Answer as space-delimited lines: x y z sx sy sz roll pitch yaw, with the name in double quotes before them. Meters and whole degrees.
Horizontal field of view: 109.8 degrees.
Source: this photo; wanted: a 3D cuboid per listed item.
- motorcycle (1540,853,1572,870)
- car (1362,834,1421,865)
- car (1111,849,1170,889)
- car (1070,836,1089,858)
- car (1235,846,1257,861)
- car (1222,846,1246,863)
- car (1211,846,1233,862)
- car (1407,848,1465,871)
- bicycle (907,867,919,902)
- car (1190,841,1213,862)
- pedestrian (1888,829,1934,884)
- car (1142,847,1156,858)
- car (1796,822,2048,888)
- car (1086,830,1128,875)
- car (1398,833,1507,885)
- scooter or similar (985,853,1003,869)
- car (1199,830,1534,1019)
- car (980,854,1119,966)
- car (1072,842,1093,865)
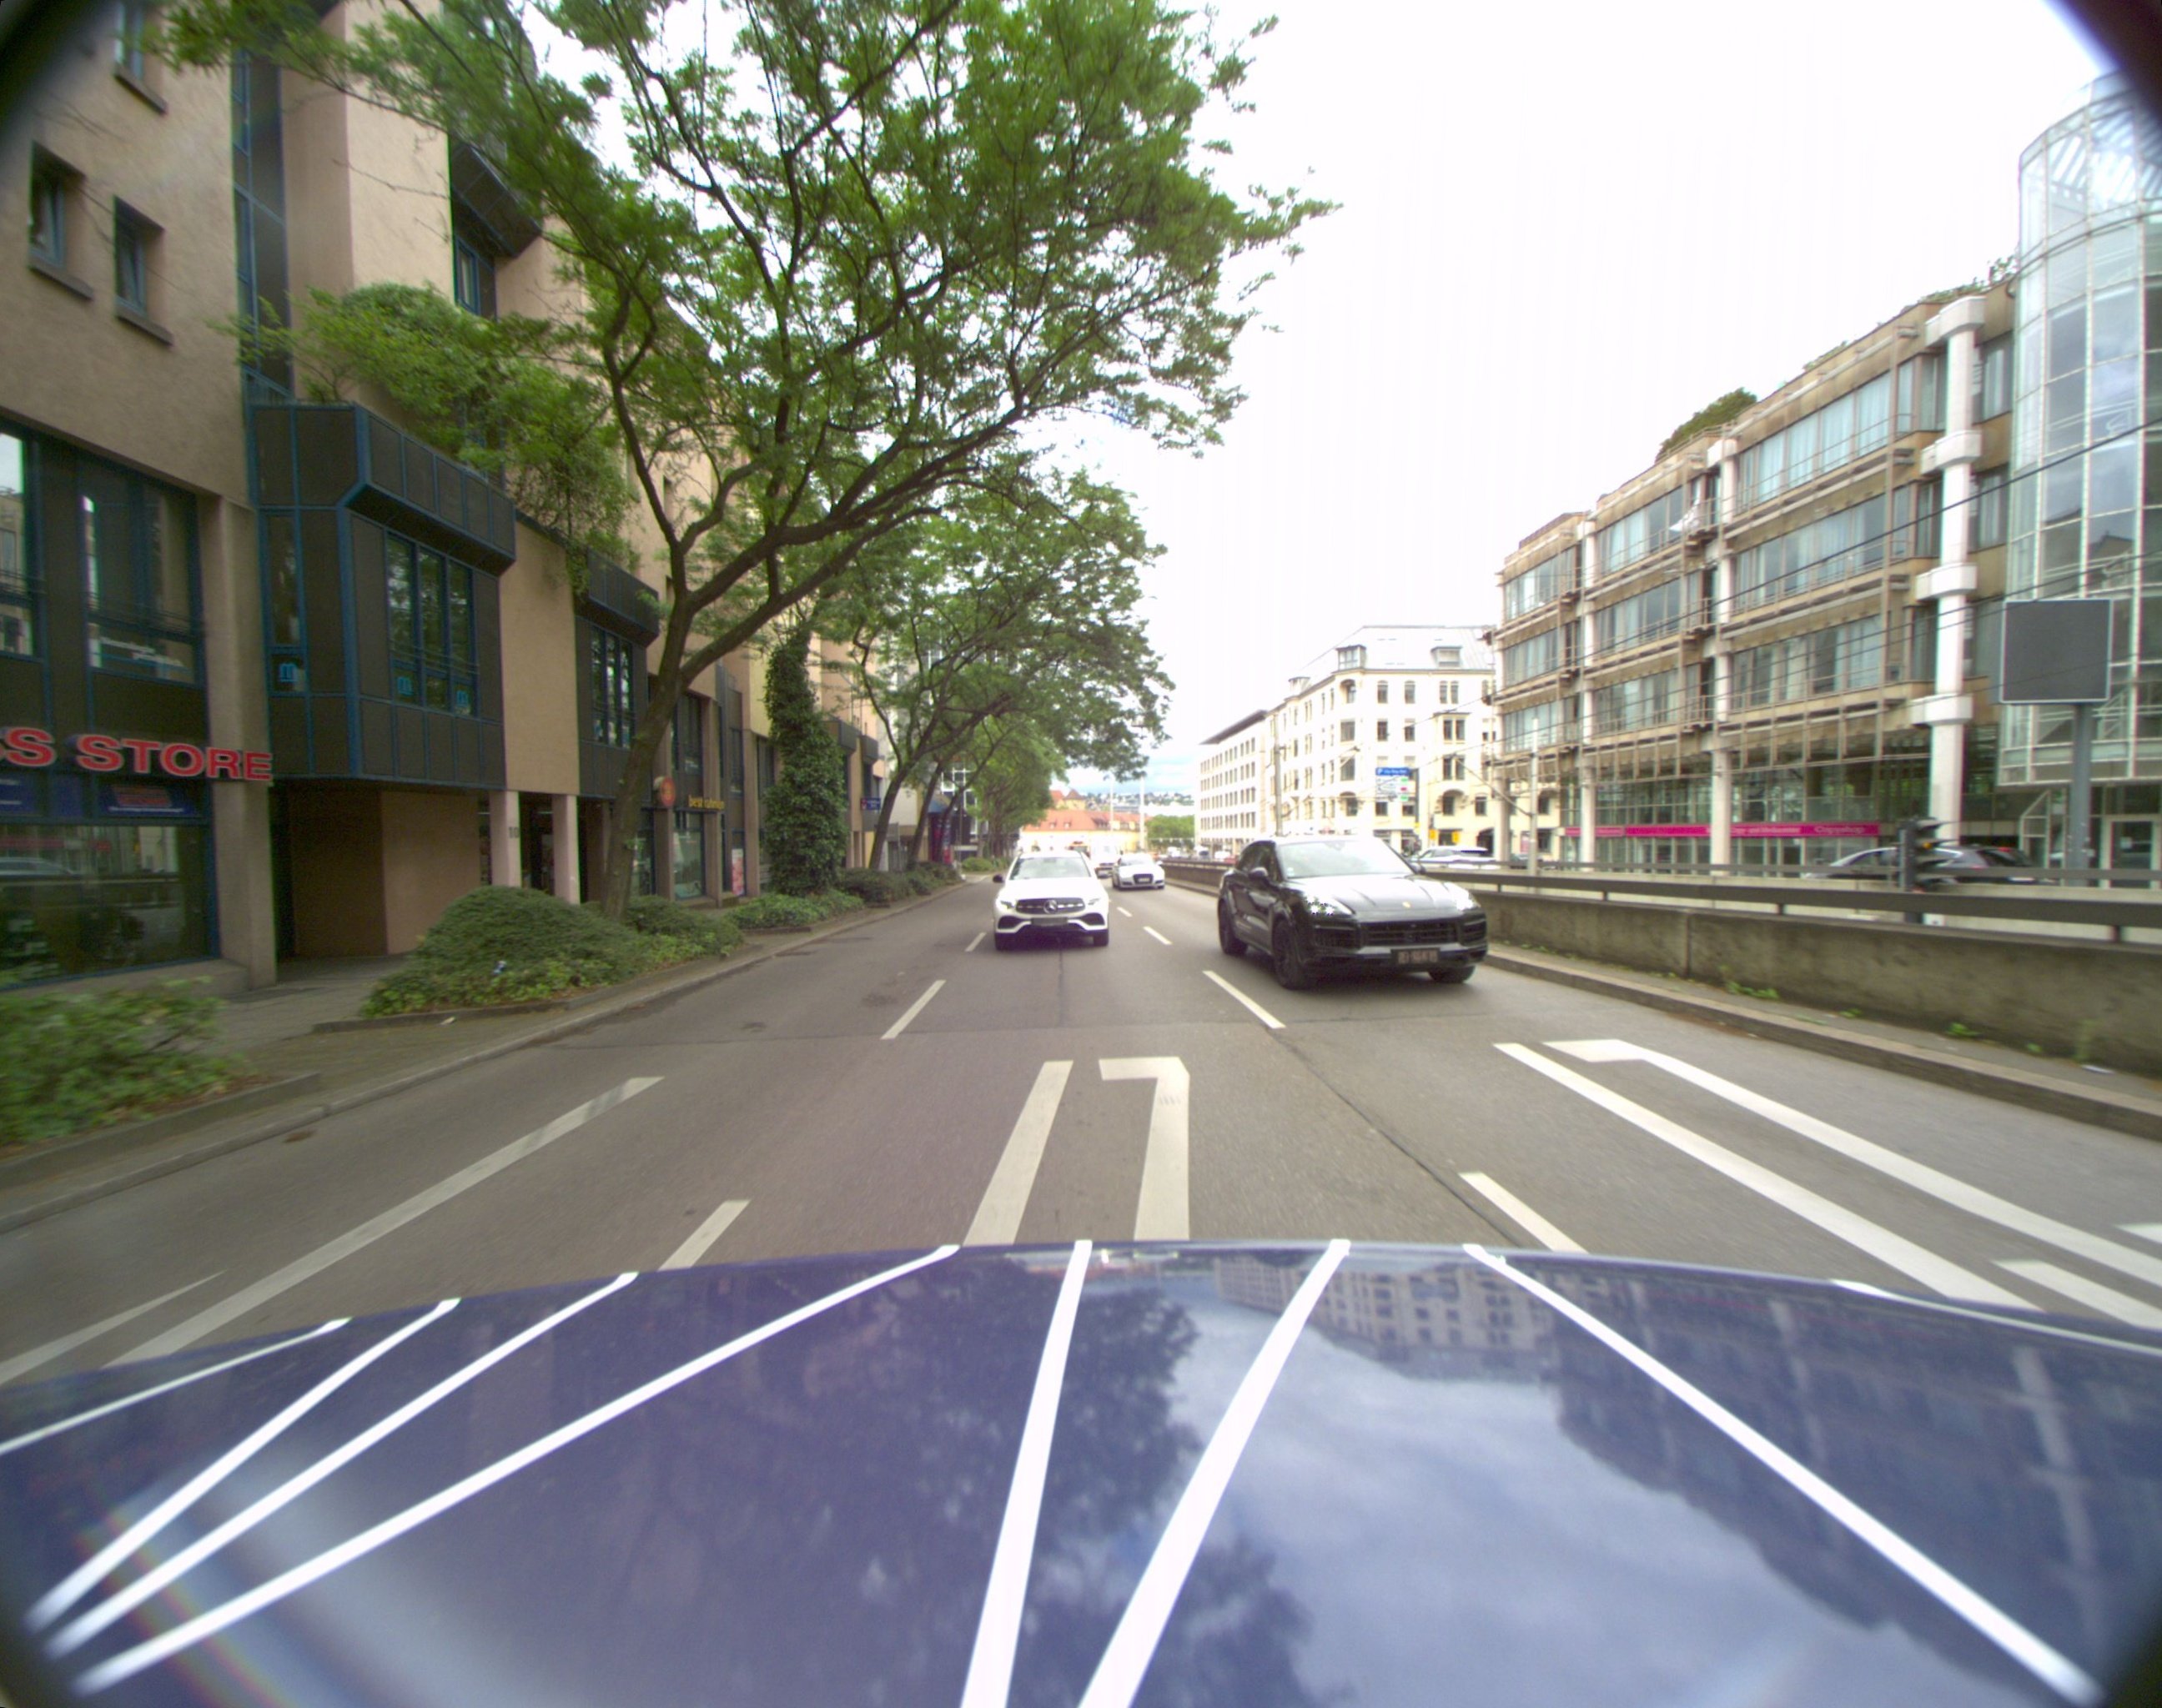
"motorcycle" 30.653 0.500 49.049 0.645 1.069 1.670 -3 1 -21
"car" 20.387 -0.337 50.060 1.999 1.903 4.377 -2 2 -1
"car" 2.444 0.584 32.115 1.950 1.521 3.998 -2 1 -3
"car" -0.210 -0.945 105.013 2.503 2.793 5.727 -2 1 0
"car" 22.572 -0.045 104.002 1.999 2.002 3.999 -1 0 -2
"car" 19.289 0.064 95.944 1.999 2.002 4.789 -2 1 -1
"car" 18.944 0.002 102.270 1.999 2.002 4.789 -2 1 -1
"car" 26.949 0.395 57.738 3.649 1.652 1.649 -1 1 -4
"bicycle" -6.241 1.117 28.283 0.362 1.194 1.569 -1 1 -10
"car" 18.445 -0.443 116.388 2.370 3.043 5.468 -2 1 -1
"pedestrian" 27.910 0.075 25.554 0.732 1.782 0.740 -2 1 0
"car" 13.152 -0.277 147.374 2.115 2.002 4.788 -2 1 -2
"car" 21.431 0.000 19.689 1.668 1.492 4.413 -1 0 0
"car" 1.761 -0.119 49.391 2.294 2.723 4.755 -2 1 6
"car" 14.987 0.171 30.989 1.839 1.831 4.603 -5 1 -4
"scooter or similar" -8.649 0.695 75.762 1.536 1.426 0.686 -3 1 -32
"car" 3.044 0.632 9.648 2.088 1.665 5.350 -2 0 -2
"car" -0.535 0.851 13.538 2.060 1.599 3.925 -2 1 -2
"car" 0.139 -0.055 97.488 2.503 2.793 5.727 -2 1 0
